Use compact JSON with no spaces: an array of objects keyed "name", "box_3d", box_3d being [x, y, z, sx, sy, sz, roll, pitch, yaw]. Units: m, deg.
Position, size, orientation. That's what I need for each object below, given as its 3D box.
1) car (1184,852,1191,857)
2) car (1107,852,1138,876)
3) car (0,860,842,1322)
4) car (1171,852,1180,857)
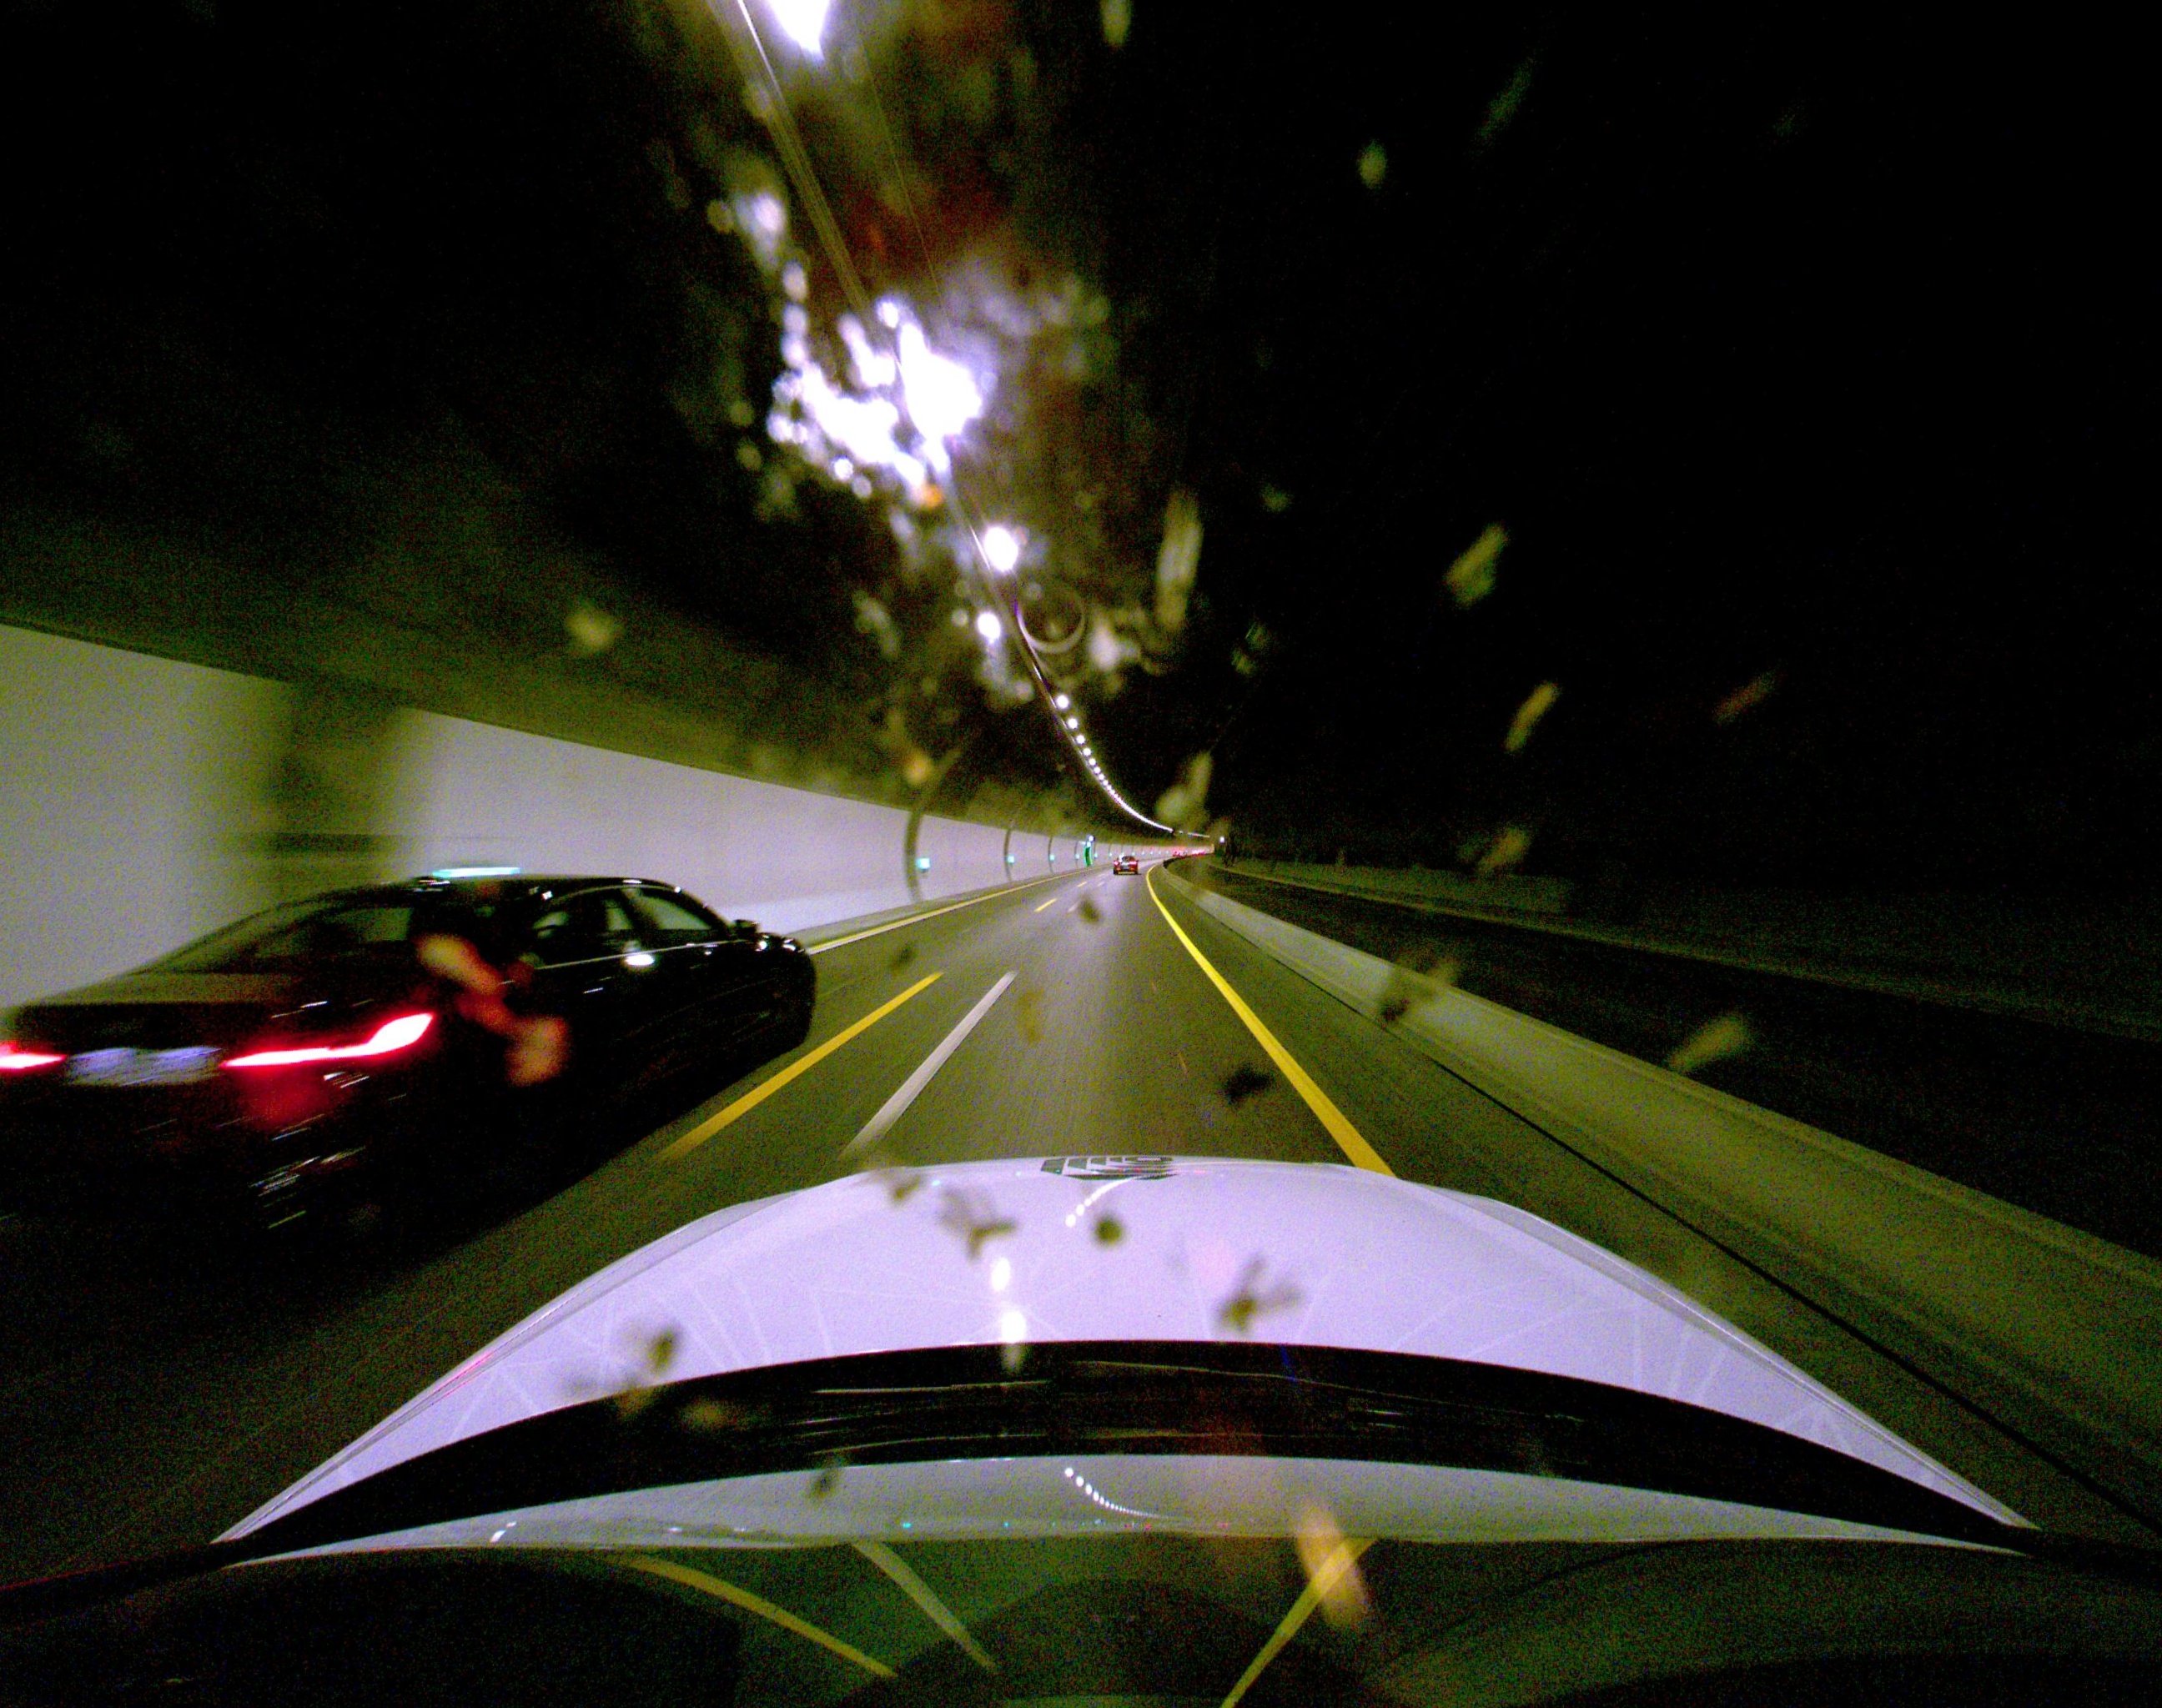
[{"name":"car","box_3d":[29.670,0.044,226.899,1.584,1.333,3.764,-1,0,13]},{"name":"car","box_3d":[3.252,0.742,62.713,2.130,1.706,4.006,-1,0,6]},{"name":"car","box_3d":[-3.196,0.795,5.094,1.771,1.438,4.885,-1,0,2]},{"name":"car","box_3d":[27.922,0.149,241.462,2.150,1.486,4.015,-1,0,13]}]
